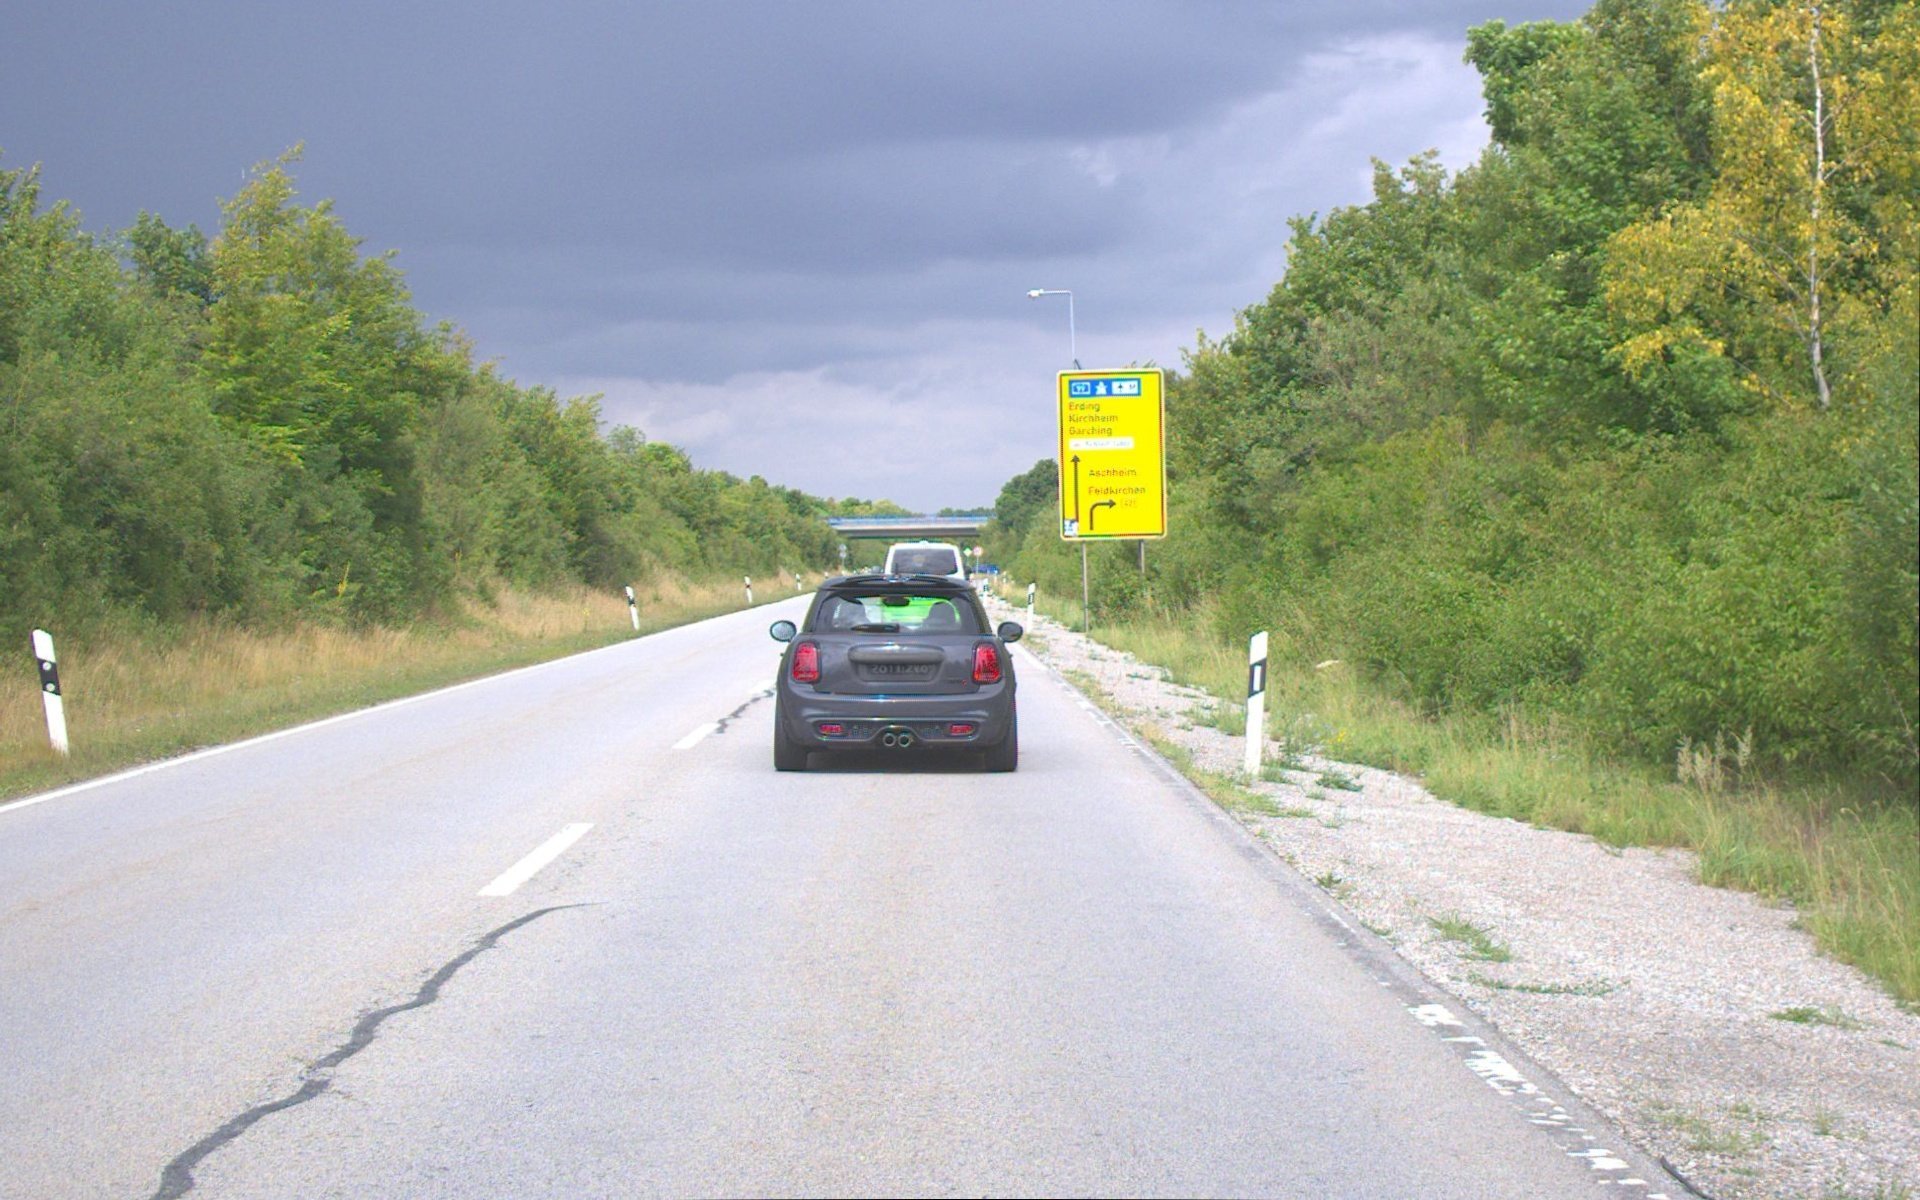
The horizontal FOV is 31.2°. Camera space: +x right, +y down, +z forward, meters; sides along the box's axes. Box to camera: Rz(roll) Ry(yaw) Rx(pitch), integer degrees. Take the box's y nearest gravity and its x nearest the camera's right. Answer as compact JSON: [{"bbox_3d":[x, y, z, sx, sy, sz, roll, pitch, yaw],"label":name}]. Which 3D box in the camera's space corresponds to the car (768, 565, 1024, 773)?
[{"bbox_3d":[-0.471,0.460,25.828,1.756,1.422,4.000,1,0,-1],"label":"car"}]

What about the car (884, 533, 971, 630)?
[{"bbox_3d":[-0.724,-0.416,75.683,1.819,2.047,4.000,1,0,-1],"label":"car"}]
